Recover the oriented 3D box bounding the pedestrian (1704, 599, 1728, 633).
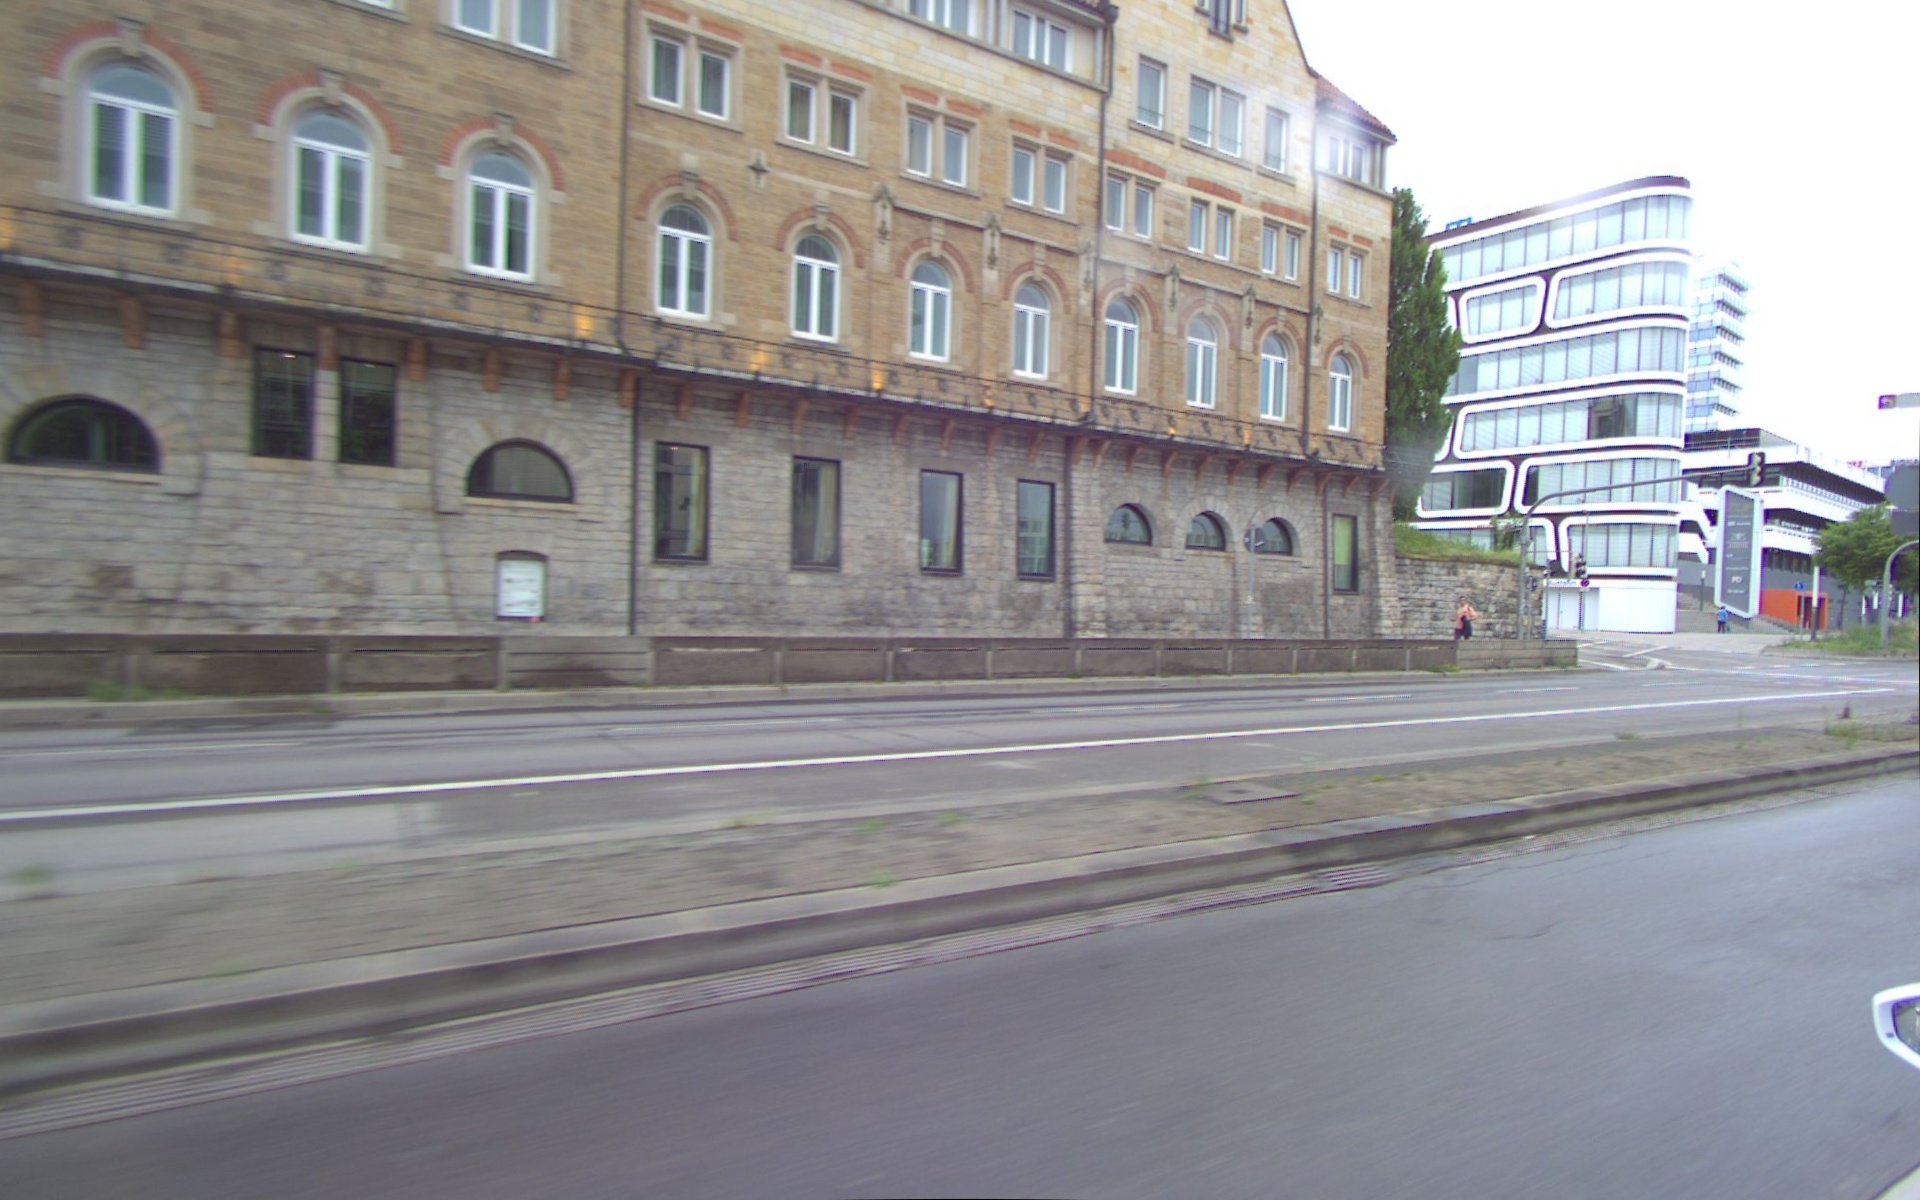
[{"bbox_3d":[46.279,0.968,61.486,0.707,2.040,1.024,0,0,-31],"label":"pedestrian"}]

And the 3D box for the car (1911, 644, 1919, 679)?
[{"bbox_3d":[41.153,2.563,41.547,3.683,1.426,1.739,2,0,-32],"label":"car"}]

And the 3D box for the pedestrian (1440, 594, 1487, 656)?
[{"bbox_3d":[15.519,0.762,30.994,1.040,1.892,0.883,0,0,4],"label":"pedestrian"}]
